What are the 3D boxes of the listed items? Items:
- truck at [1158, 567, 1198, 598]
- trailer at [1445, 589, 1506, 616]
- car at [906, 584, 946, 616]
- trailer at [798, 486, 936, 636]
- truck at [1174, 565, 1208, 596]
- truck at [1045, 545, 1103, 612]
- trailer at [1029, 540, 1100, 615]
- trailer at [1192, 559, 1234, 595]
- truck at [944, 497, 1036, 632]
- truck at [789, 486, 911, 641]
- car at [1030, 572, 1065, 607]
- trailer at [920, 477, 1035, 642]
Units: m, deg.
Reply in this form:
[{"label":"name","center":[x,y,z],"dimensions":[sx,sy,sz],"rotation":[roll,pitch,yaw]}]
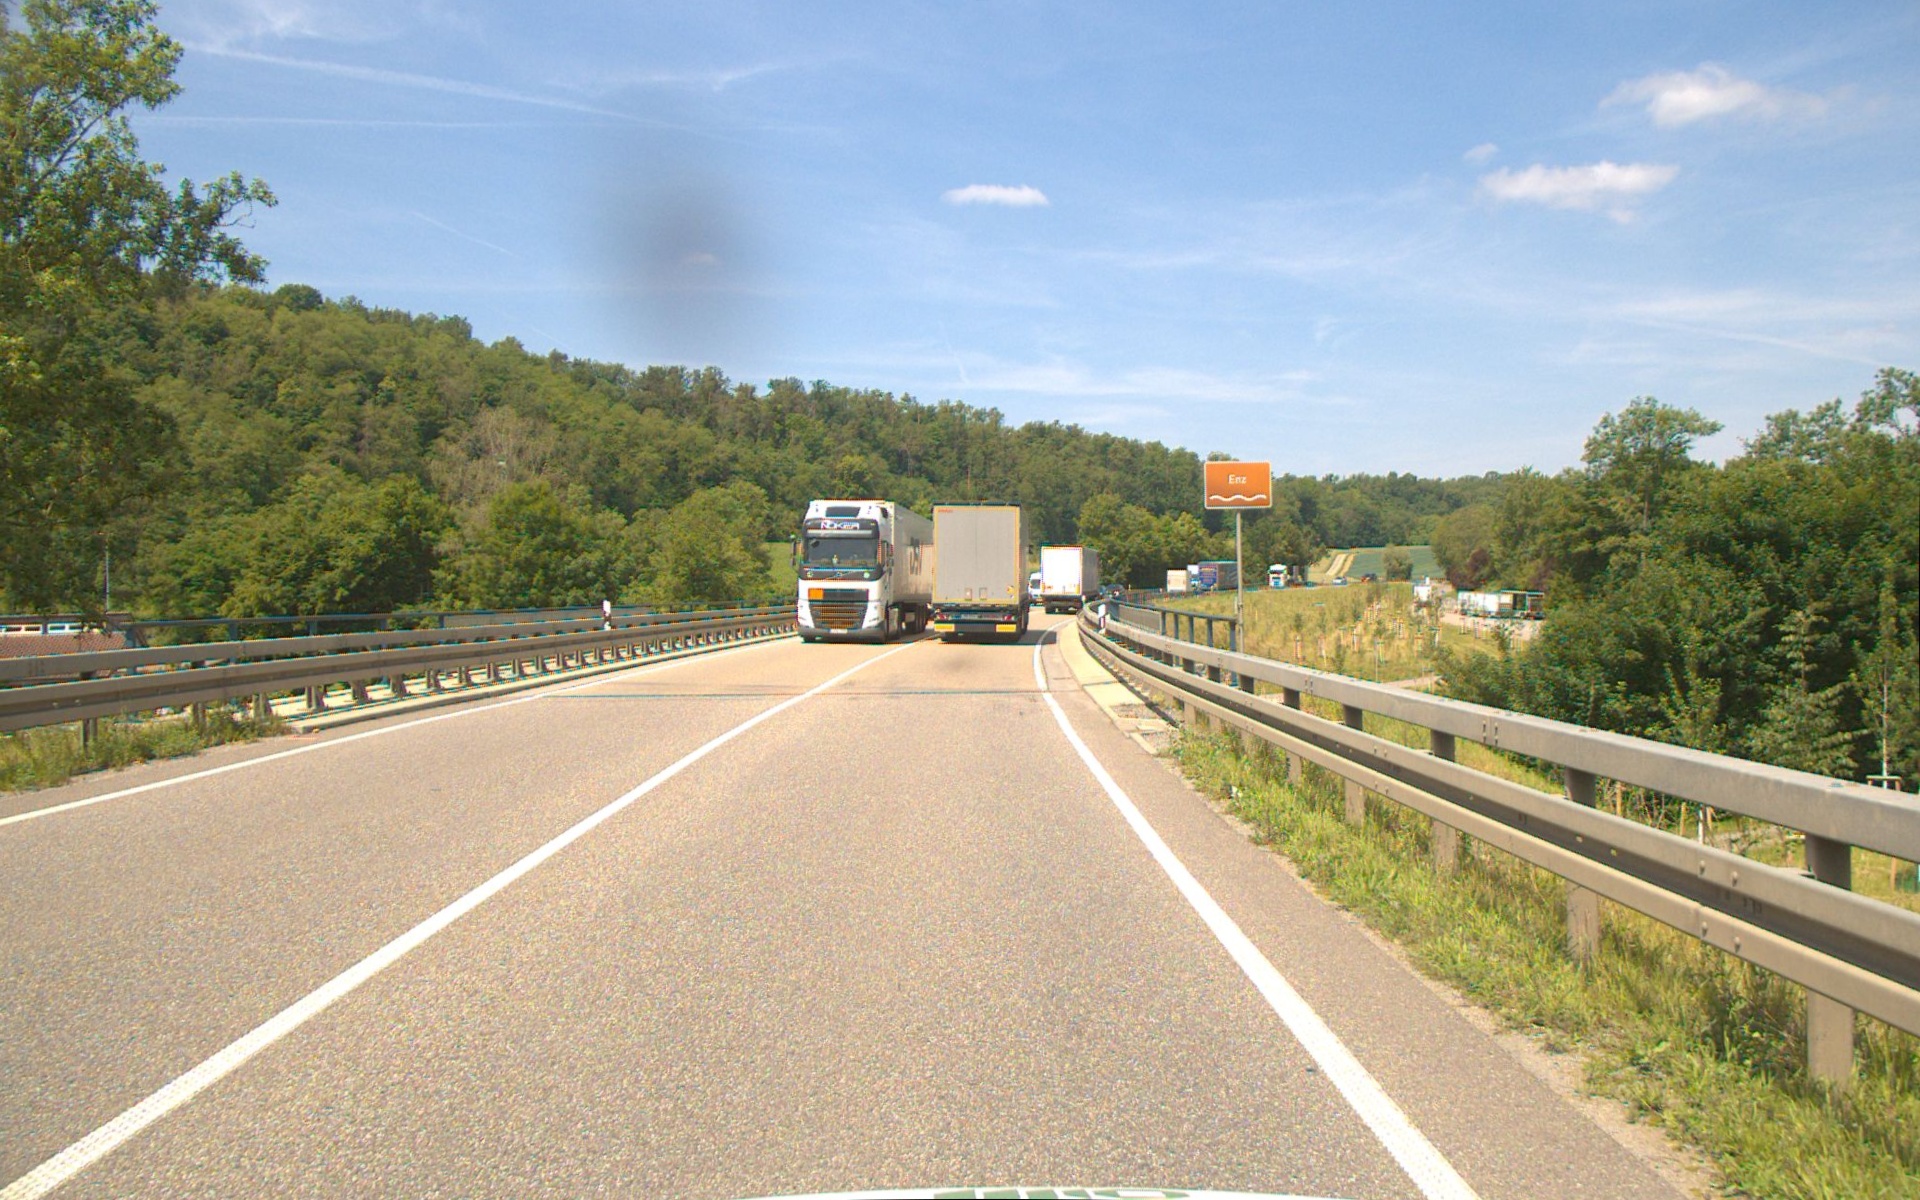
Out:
[{"label":"truck","center":[24.613,-1.954,186.489],"dimensions":[3.154,3.424,11.884],"rotation":[1,0,14]},{"label":"trailer","center":[70.459,0.253,226.203],"dimensions":[2.670,3.385,11.864],"rotation":[0,1,-11]},{"label":"car","center":[-1.614,-0.011,79.178],"dimensions":[1.626,1.483,3.896],"rotation":[1,1,2]},{"label":"trailer","center":[-2.780,-1.172,54.663],"dimensions":[2.793,4.261,14.504],"rotation":[1,0,4]},{"label":"truck","center":[30.456,-2.587,217.486],"dimensions":[2.853,3.870,9.714],"rotation":[1,1,18]},{"label":"truck","center":[7.768,-1.423,111.511],"dimensions":[3.293,4.392,6.746],"rotation":[1,0,9]},{"label":"trailer","center":[6.771,-1.375,104.941],"dimensions":[3.293,4.392,13.876],"rotation":[1,0,9]},{"label":"trailer","center":[31.801,-2.829,207.420],"dimensions":[3.571,4.337,12.203],"rotation":[1,0,16]},{"label":"truck","center":[1.176,-1.229,59.796],"dimensions":[3.053,4.573,6.814],"rotation":[1,0,3]},{"label":"truck","center":[-3.120,-1.043,48.778],"dimensions":[2.787,4.233,6.333],"rotation":[1,1,3]},{"label":"car","center":[6.874,-0.815,128.952],"dimensions":[2.133,2.604,5.801],"rotation":[1,0,9]},{"label":"trailer","center":[0.810,-1.187,53.234],"dimensions":[3.053,4.578,13.892],"rotation":[1,0,3]}]
